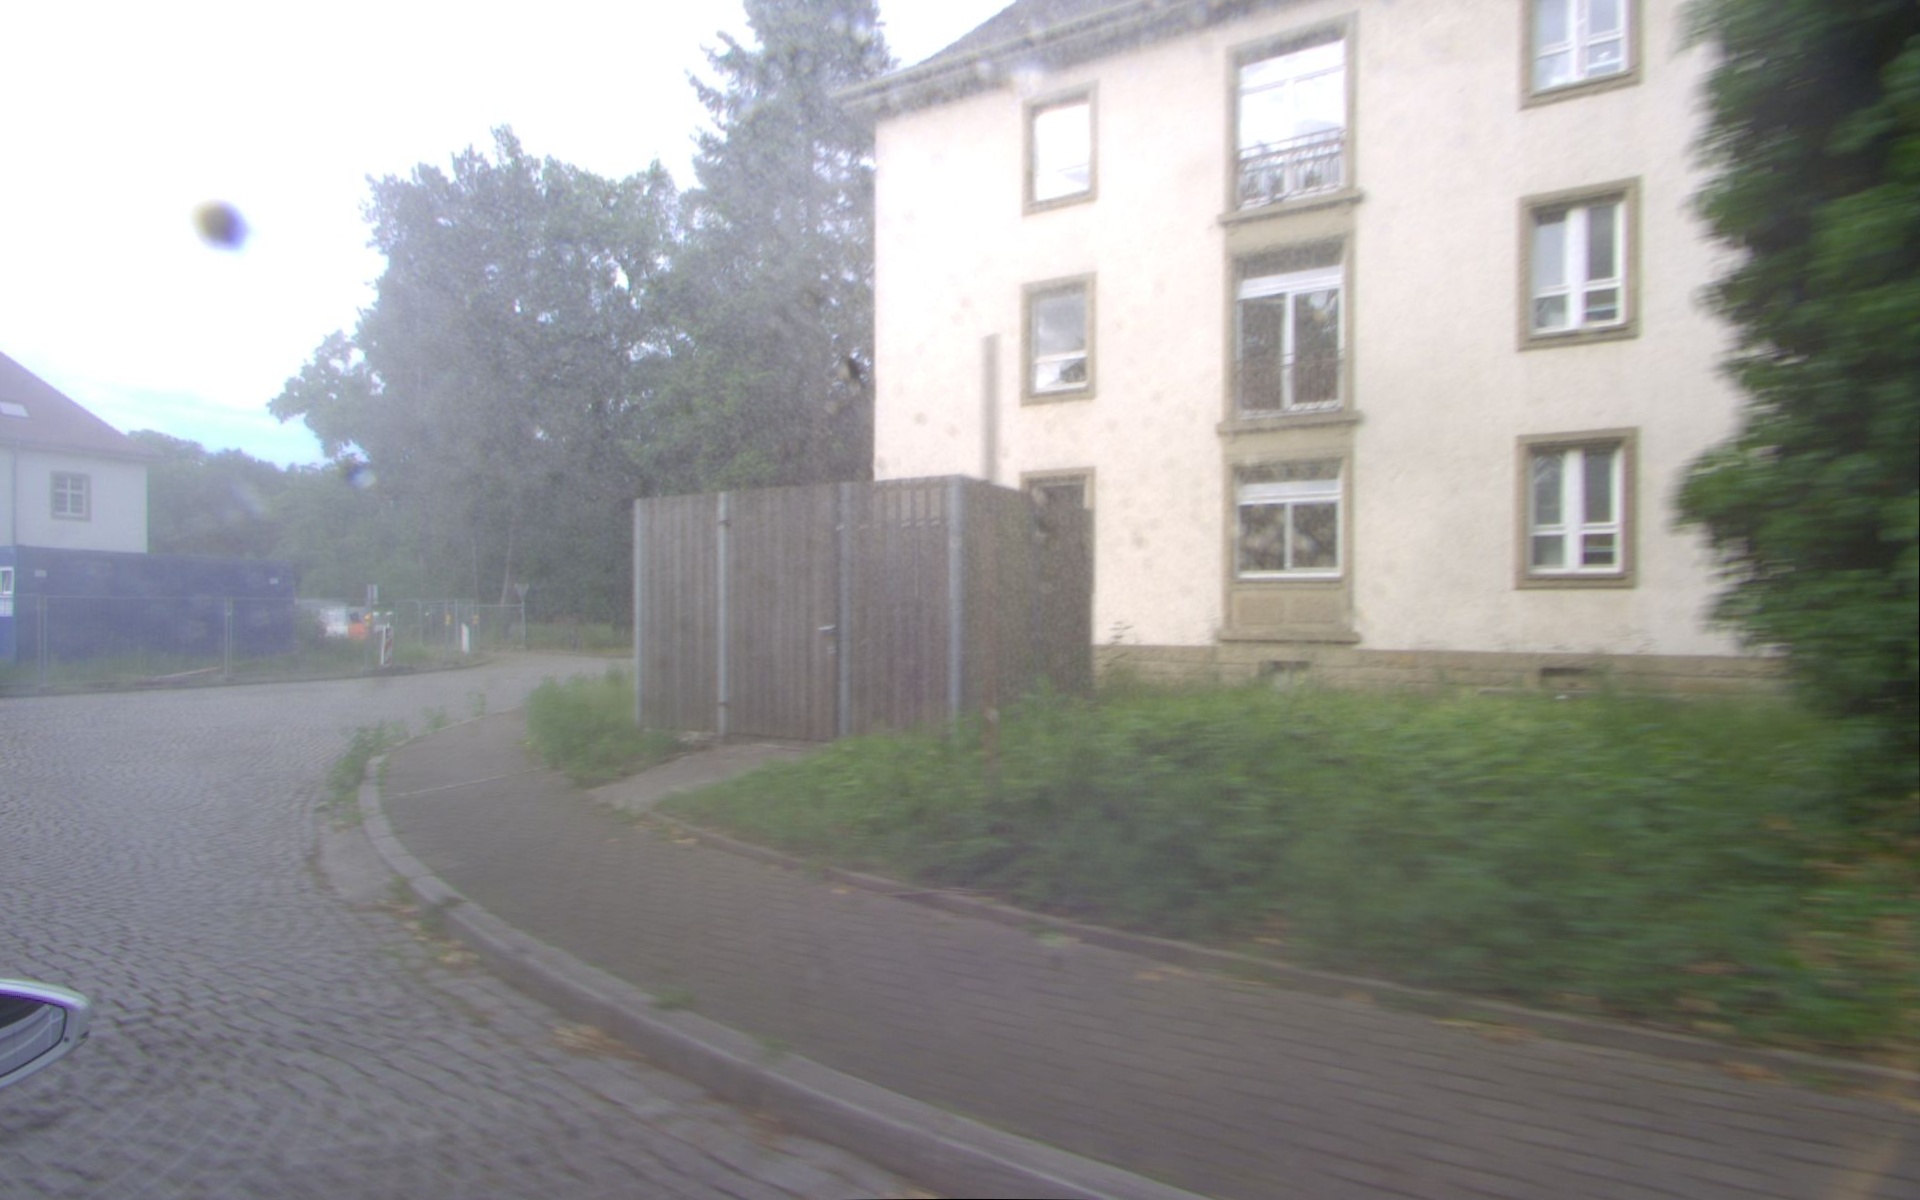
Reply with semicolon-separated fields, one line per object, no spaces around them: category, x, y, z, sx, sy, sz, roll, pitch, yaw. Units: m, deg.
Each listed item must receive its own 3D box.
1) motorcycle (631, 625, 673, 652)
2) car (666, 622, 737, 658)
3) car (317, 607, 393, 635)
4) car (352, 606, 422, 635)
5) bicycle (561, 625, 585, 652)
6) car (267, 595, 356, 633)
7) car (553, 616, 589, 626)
motorcycle;-13.823;1.733;44.973;1.932;1.180;0.517;0;-1;23
car;-12.100;1.850;46.859;2.972;1.507;1.320;2;0;20
car;-34.112;1.199;56.595;1.730;1.522;4.446;0;-1;-2
car;-31.143;1.099;54.526;1.589;1.506;3.988;1;-1;-2
bicycle;-16.782;1.660;43.404;0.509;1.182;1.791;1;-1;-37
car;-36.924;0.786;57.166;1.730;2.069;5.422;0;-1;-2
car;-41.350;2.210;106.464;3.327;1.078;1.256;0;-1;-6
